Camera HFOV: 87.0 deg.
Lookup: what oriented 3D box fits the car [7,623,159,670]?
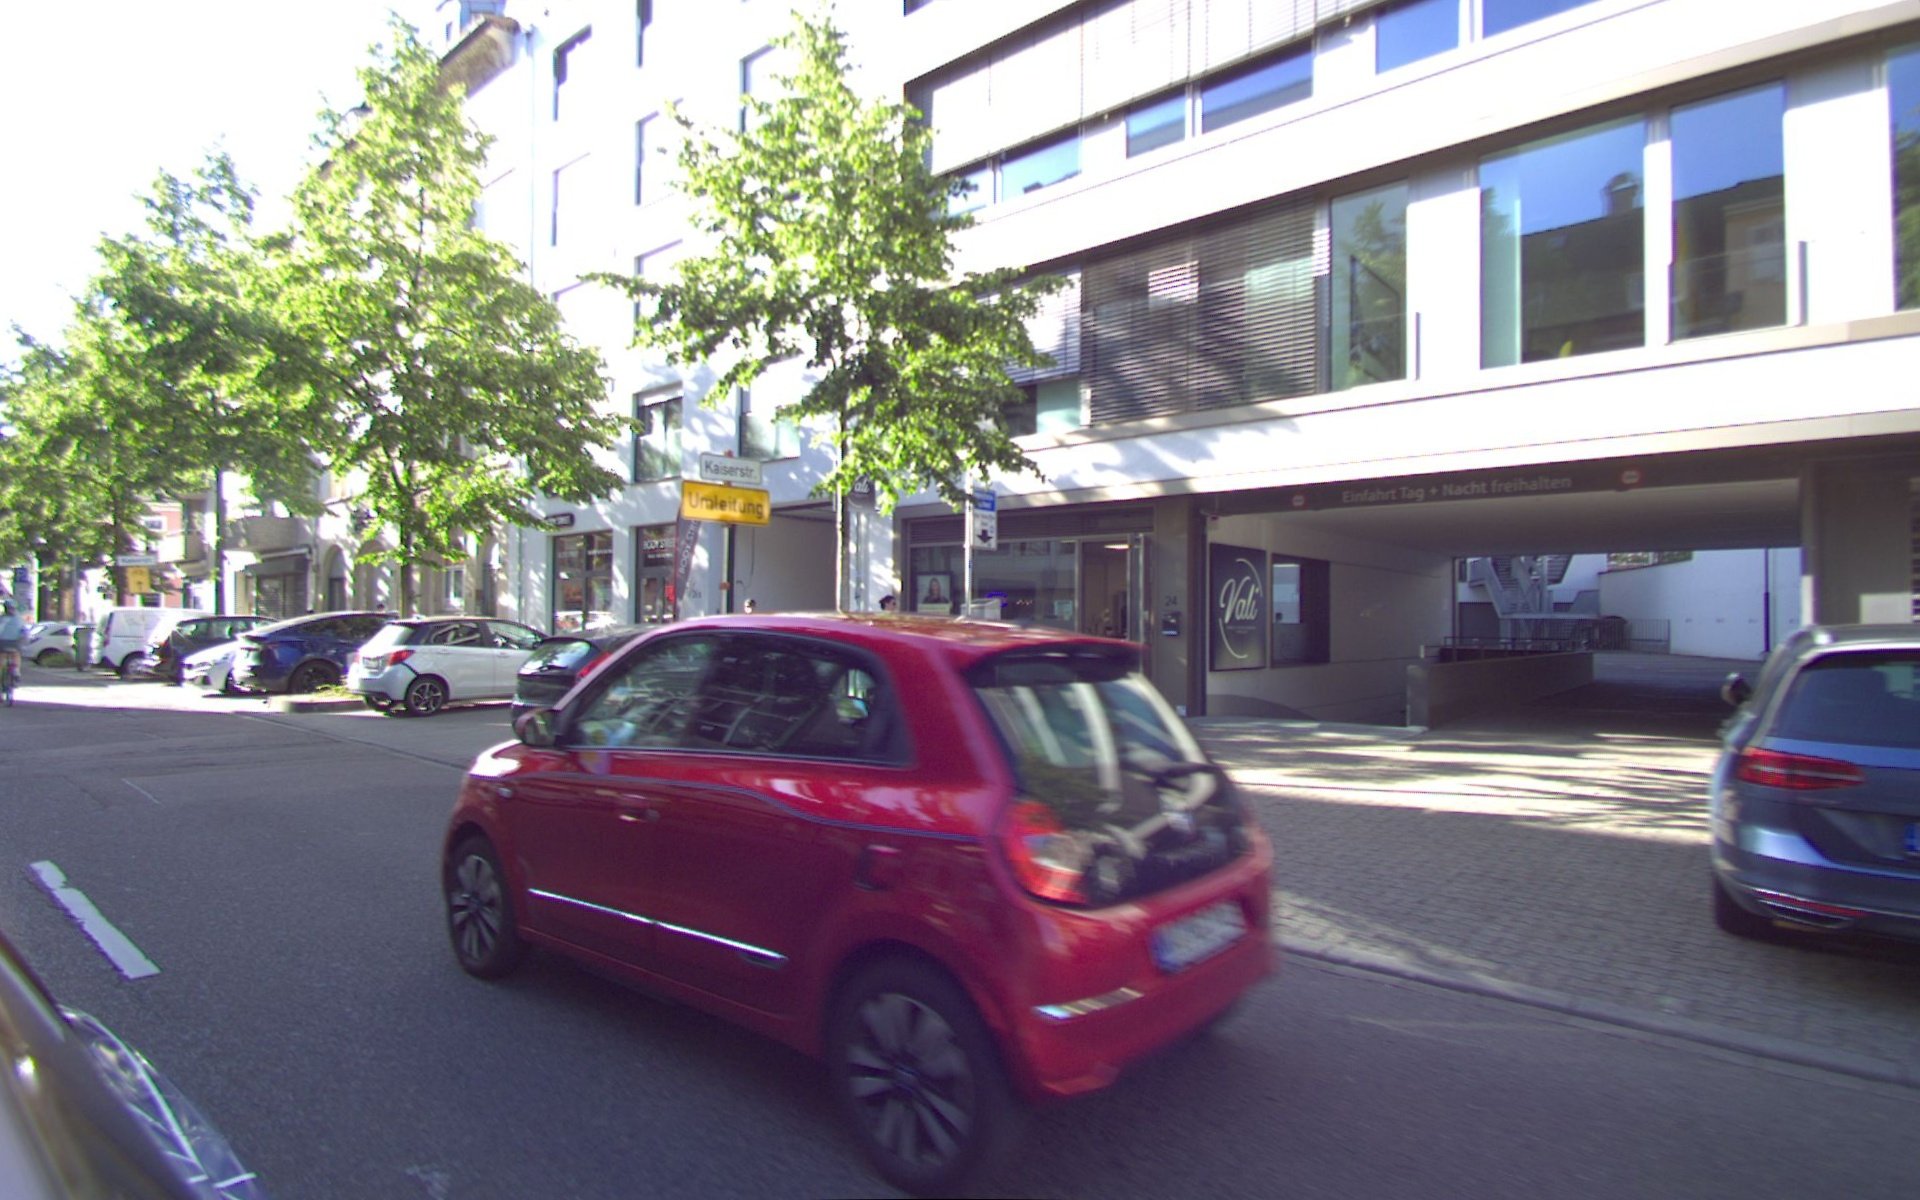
[{"bbox_3d":[-30.329,1.577,35.096,1.707,1.475,3.742,-2,-1,38],"label":"car"}]

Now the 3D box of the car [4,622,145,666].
[{"bbox_3d":[-34.424,1.670,39.416,1.747,1.475,3.957,1,1,40],"label":"car"}]

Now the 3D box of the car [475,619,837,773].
[{"bbox_3d":[-3.377,0.968,11.804,1.778,1.470,3.745,-1,-2,37],"label":"car"}]

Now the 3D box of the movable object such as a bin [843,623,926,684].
[{"bbox_3d":[-1.713,1.198,23.046,1.104,1.317,1.533,-2,-1,40],"label":"movable object such as a bin"}]

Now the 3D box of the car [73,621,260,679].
[{"bbox_3d":[-22.569,1.379,28.898,1.886,1.475,3.938,-2,-1,41],"label":"car"}]

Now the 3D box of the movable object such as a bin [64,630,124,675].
[{"bbox_3d":[-26.014,1.557,30.404,0.869,1.312,1.225,-1,-2,40],"label":"movable object such as a bin"}]

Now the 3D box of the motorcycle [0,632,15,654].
[{"bbox_3d":[-52.074,2.311,54.262,0.739,1.194,1.980,-2,-1,38],"label":"motorcycle"}]

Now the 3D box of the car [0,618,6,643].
[{"bbox_3d":[-67.143,2.045,68.107,1.998,1.693,4.083,-1,-1,39],"label":"car"}]

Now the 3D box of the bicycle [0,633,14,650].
[{"bbox_3d":[-53.236,2.298,55.877,1.493,0.958,0.360,-1,0,-8],"label":"bicycle"}]

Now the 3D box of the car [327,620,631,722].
[{"bbox_3d":[-7.939,1.088,17.039,1.977,1.470,4.206,-1,-2,37],"label":"car"}]

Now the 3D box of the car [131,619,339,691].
[{"bbox_3d":[-17.264,1.246,24.225,1.791,1.570,3.760,-1,-2,41],"label":"car"}]

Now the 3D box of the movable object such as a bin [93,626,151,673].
[{"bbox_3d":[-24.977,1.445,30.165,0.931,1.355,1.180,-1,-2,40],"label":"movable object such as a bin"}]

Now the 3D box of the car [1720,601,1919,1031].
[{"bbox_3d":[5.008,0.764,5.142,1.787,1.470,4.451,-1,0,37],"label":"car"}]

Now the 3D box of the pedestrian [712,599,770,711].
[{"bbox_3d":[-3.648,0.898,16.836,0.690,1.811,0.747,1,-2,-38],"label":"pedestrian"}]

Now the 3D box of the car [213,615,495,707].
[{"bbox_3d":[-11.656,1.093,19.694,1.979,1.582,4.321,-2,-2,41],"label":"car"}]

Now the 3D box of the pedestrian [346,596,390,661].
[{"bbox_3d":[-16.707,0.794,28.558,0.762,1.779,0.767,-1,2,39],"label":"pedestrian"}]

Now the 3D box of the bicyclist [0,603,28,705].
[{"bbox_3d":[-16.661,0.928,17.451,1.282,1.713,0.717,-2,-2,41],"label":"bicyclist"}]

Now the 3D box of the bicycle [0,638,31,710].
[{"bbox_3d":[-16.658,1.253,17.438,2.196,1.178,0.717,-2,-2,41],"label":"bicycle"}]

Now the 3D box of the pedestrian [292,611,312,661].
[{"bbox_3d":[-22.442,1.205,34.517,0.639,1.684,0.429,-1,-1,43],"label":"pedestrian"}]

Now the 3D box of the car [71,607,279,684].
[{"bbox_3d":[-20.705,1.134,26.818,2.037,1.850,4.063,-2,-1,41],"label":"car"}]

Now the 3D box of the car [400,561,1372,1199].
[{"bbox_3d":[-0.573,0.761,3.990,3.758,1.547,1.641,-1,-4,41],"label":"car"}]

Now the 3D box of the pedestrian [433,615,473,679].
[{"bbox_3d":[-12.462,1.144,24.867,0.842,1.505,0.586,-2,0,42],"label":"pedestrian"}]

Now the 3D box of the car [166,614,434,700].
[{"bbox_3d":[-13.614,1.101,21.067,1.945,1.582,4.321,-2,-2,41],"label":"car"}]
